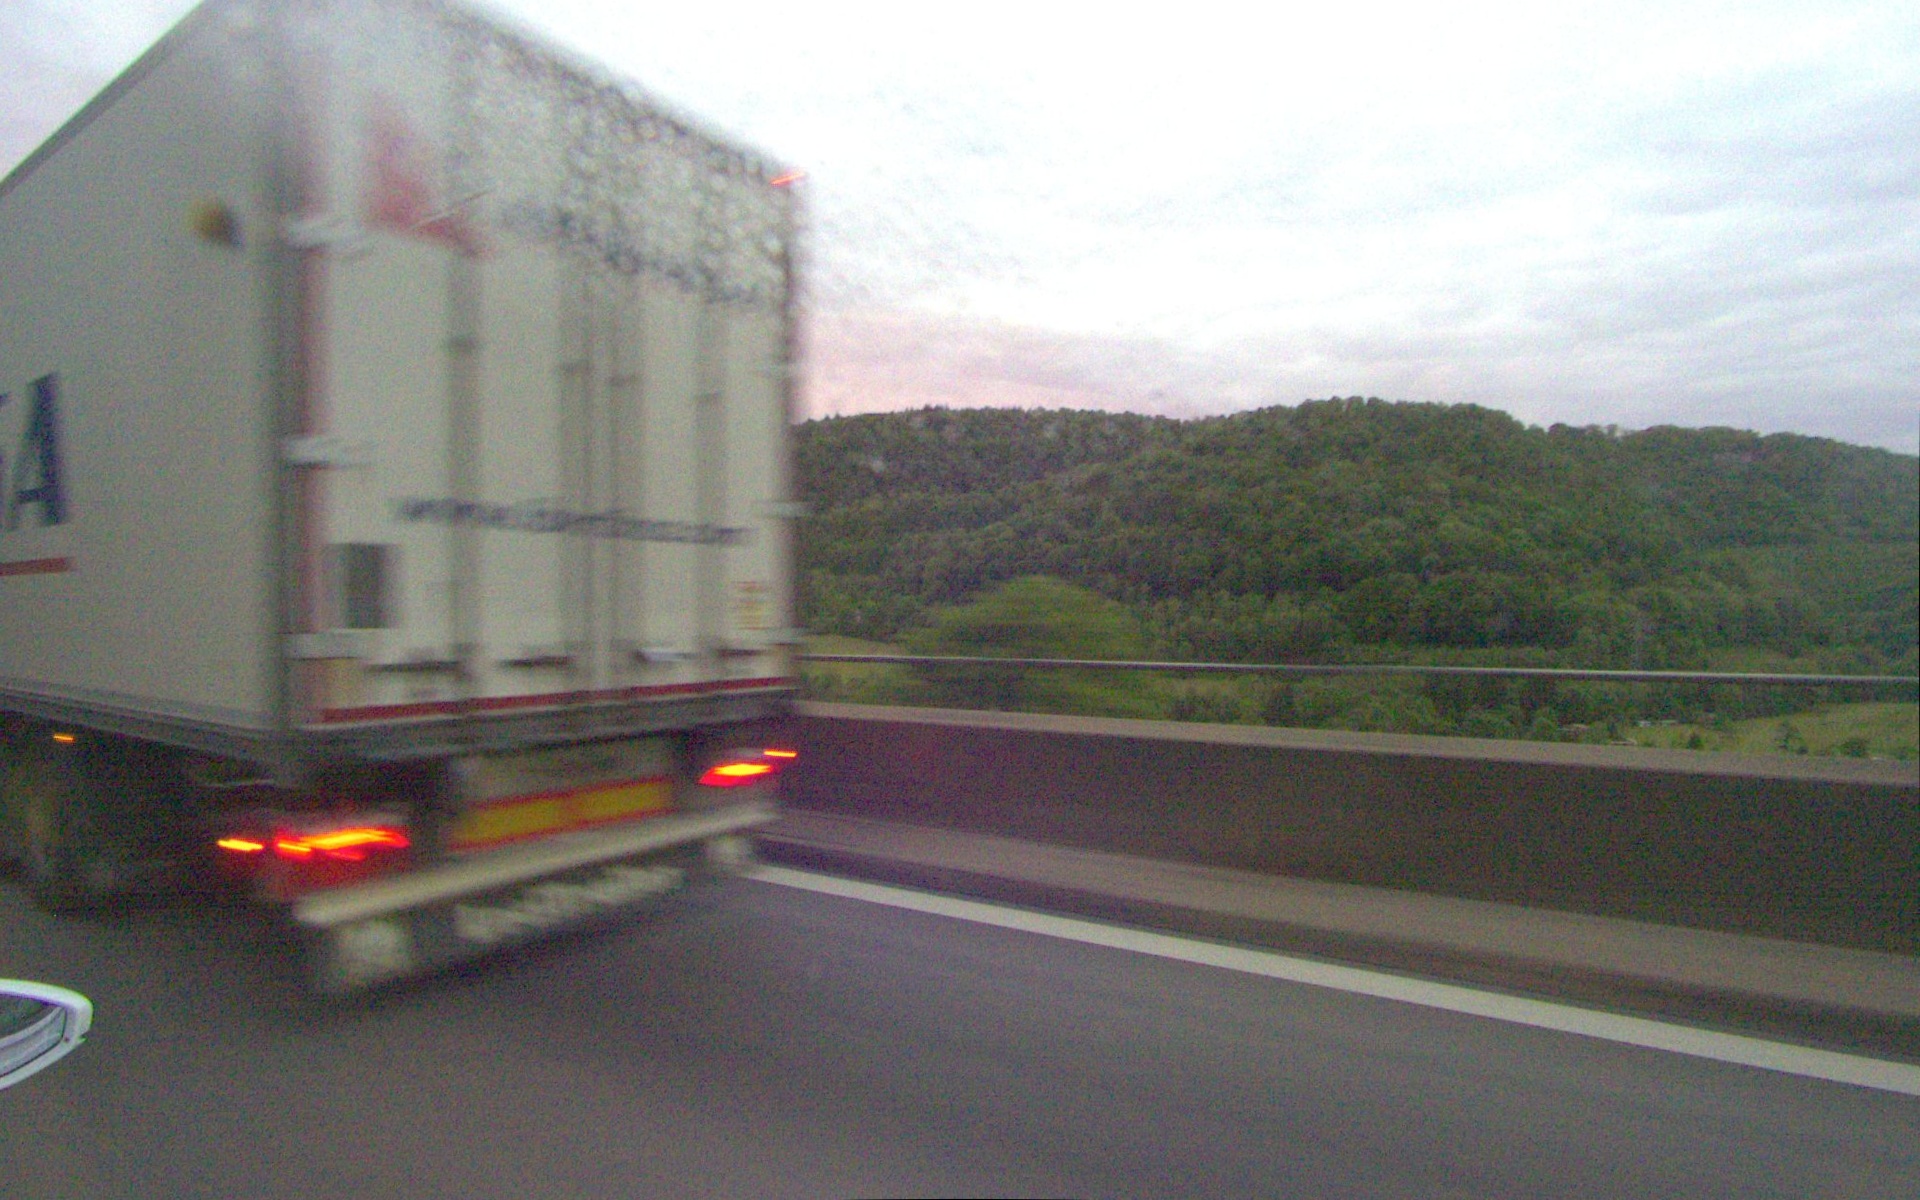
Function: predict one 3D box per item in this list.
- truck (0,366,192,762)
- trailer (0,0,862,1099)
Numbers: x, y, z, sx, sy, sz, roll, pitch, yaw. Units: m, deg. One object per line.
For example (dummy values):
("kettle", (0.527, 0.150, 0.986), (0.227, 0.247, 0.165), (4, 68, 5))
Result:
("truck", (-12.679, -0.309, 12.581), (6.362, 4.197, 3.061), (-1, -2, 35))
("trailer", (-7.155, -0.333, 8.593), (14.027, 4.022, 3.088), (0, 0, 36))
